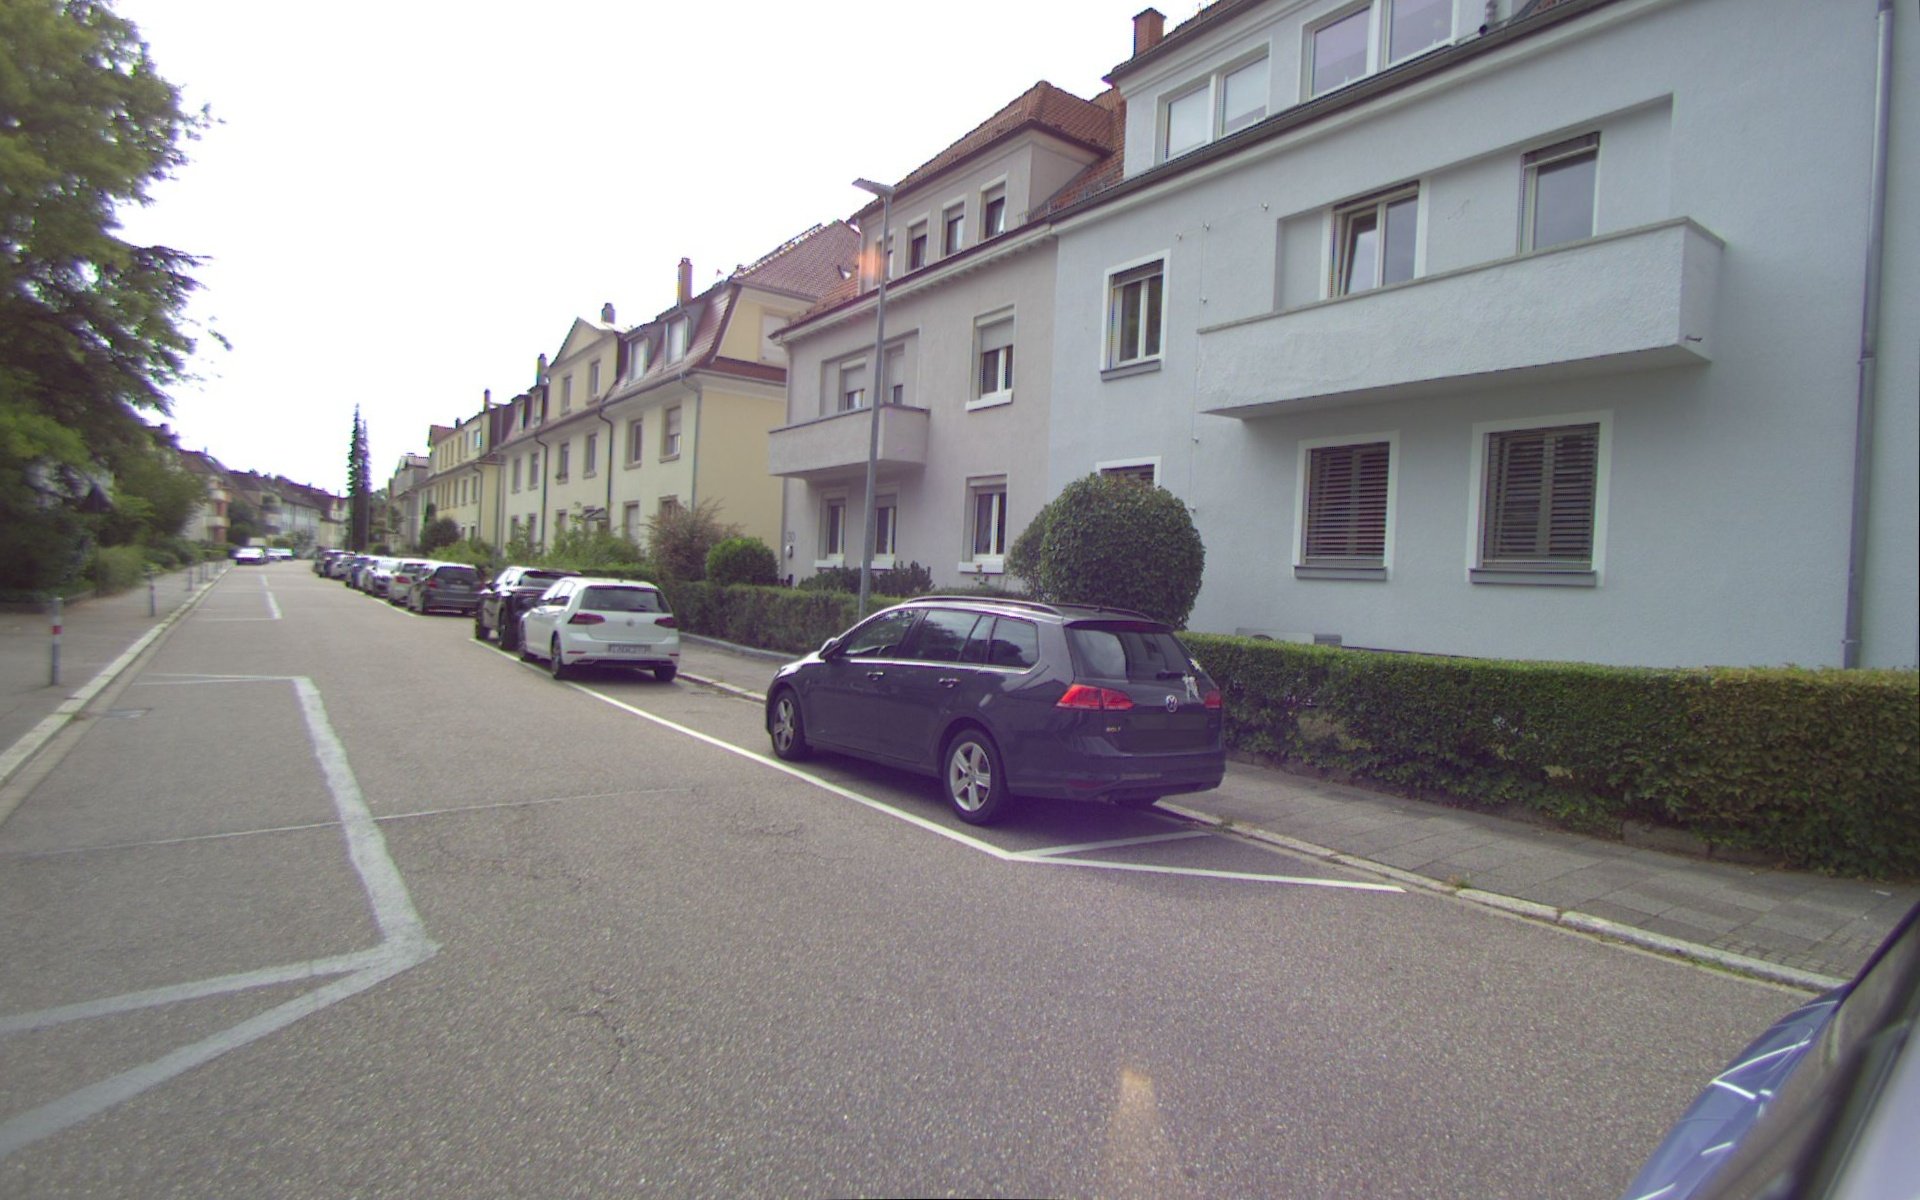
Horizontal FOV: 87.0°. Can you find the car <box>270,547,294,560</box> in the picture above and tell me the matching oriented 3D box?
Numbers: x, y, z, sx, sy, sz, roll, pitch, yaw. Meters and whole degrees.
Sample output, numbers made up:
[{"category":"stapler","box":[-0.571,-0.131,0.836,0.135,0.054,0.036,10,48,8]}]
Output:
[{"category":"car","box":[-86.315,-5.950,128.841,1.959,1.555,4.008,1,2,-26]}]

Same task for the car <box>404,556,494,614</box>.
[{"category":"car","box":[-15.005,-0.483,29.590,1.824,1.490,4.178,2,1,-34]}]

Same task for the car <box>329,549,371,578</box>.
[{"category":"car","box":[-34.864,-2.093,57.764,1.824,1.490,4.178,2,1,-34]}]

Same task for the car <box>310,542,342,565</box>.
[{"category":"car","box":[-48.833,-3.583,77.875,1.824,1.597,4.177,2,1,-35]}]

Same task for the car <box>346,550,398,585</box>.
[{"category":"car","box":[-27.754,-1.558,47.693,1.824,1.490,4.178,2,1,-34]}]

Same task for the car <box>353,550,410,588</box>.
[{"category":"car","box":[-25.188,-1.362,44.014,1.824,1.490,4.178,2,1,-34]}]

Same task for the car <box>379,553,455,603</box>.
[{"category":"car","box":[-18.280,-0.774,33.959,1.824,1.490,4.178,2,1,-34]}]

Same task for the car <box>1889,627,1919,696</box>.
[{"category":"car","box":[22.721,1.459,21.509,1.961,1.482,4.002,2,1,-34]}]

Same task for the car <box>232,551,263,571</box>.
[{"category":"car","box":[-64.466,-3.544,91.634,1.960,1.660,4.004,2,1,-32]}]

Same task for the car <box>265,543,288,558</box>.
[{"category":"car","box":[-79.012,-5.723,116.969,1.960,1.660,4.004,2,2,-32]}]

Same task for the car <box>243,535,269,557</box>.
[{"category":"car","box":[-71.092,-5.442,102.245,1.961,2.038,4.003,2,1,-33]}]

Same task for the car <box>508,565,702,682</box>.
[{"category":"car","box":[-5.650,0.285,15.775,1.824,1.490,4.178,2,1,-34]}]

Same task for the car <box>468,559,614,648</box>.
[{"category":"car","box":[-8.332,0.014,19.911,1.824,1.490,4.178,2,1,-34]}]

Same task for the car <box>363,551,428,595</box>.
[{"category":"car","box":[-21.583,-1.054,38.609,1.824,1.490,4.178,2,1,-34]}]

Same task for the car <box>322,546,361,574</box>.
[{"category":"car","box":[-38.014,-2.467,62.191,1.824,1.597,4.178,2,1,-34]}]

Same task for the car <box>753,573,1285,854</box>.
[{"category":"car","box":[0.183,0.624,7.954,1.826,1.490,4.173,2,1,-38]}]
